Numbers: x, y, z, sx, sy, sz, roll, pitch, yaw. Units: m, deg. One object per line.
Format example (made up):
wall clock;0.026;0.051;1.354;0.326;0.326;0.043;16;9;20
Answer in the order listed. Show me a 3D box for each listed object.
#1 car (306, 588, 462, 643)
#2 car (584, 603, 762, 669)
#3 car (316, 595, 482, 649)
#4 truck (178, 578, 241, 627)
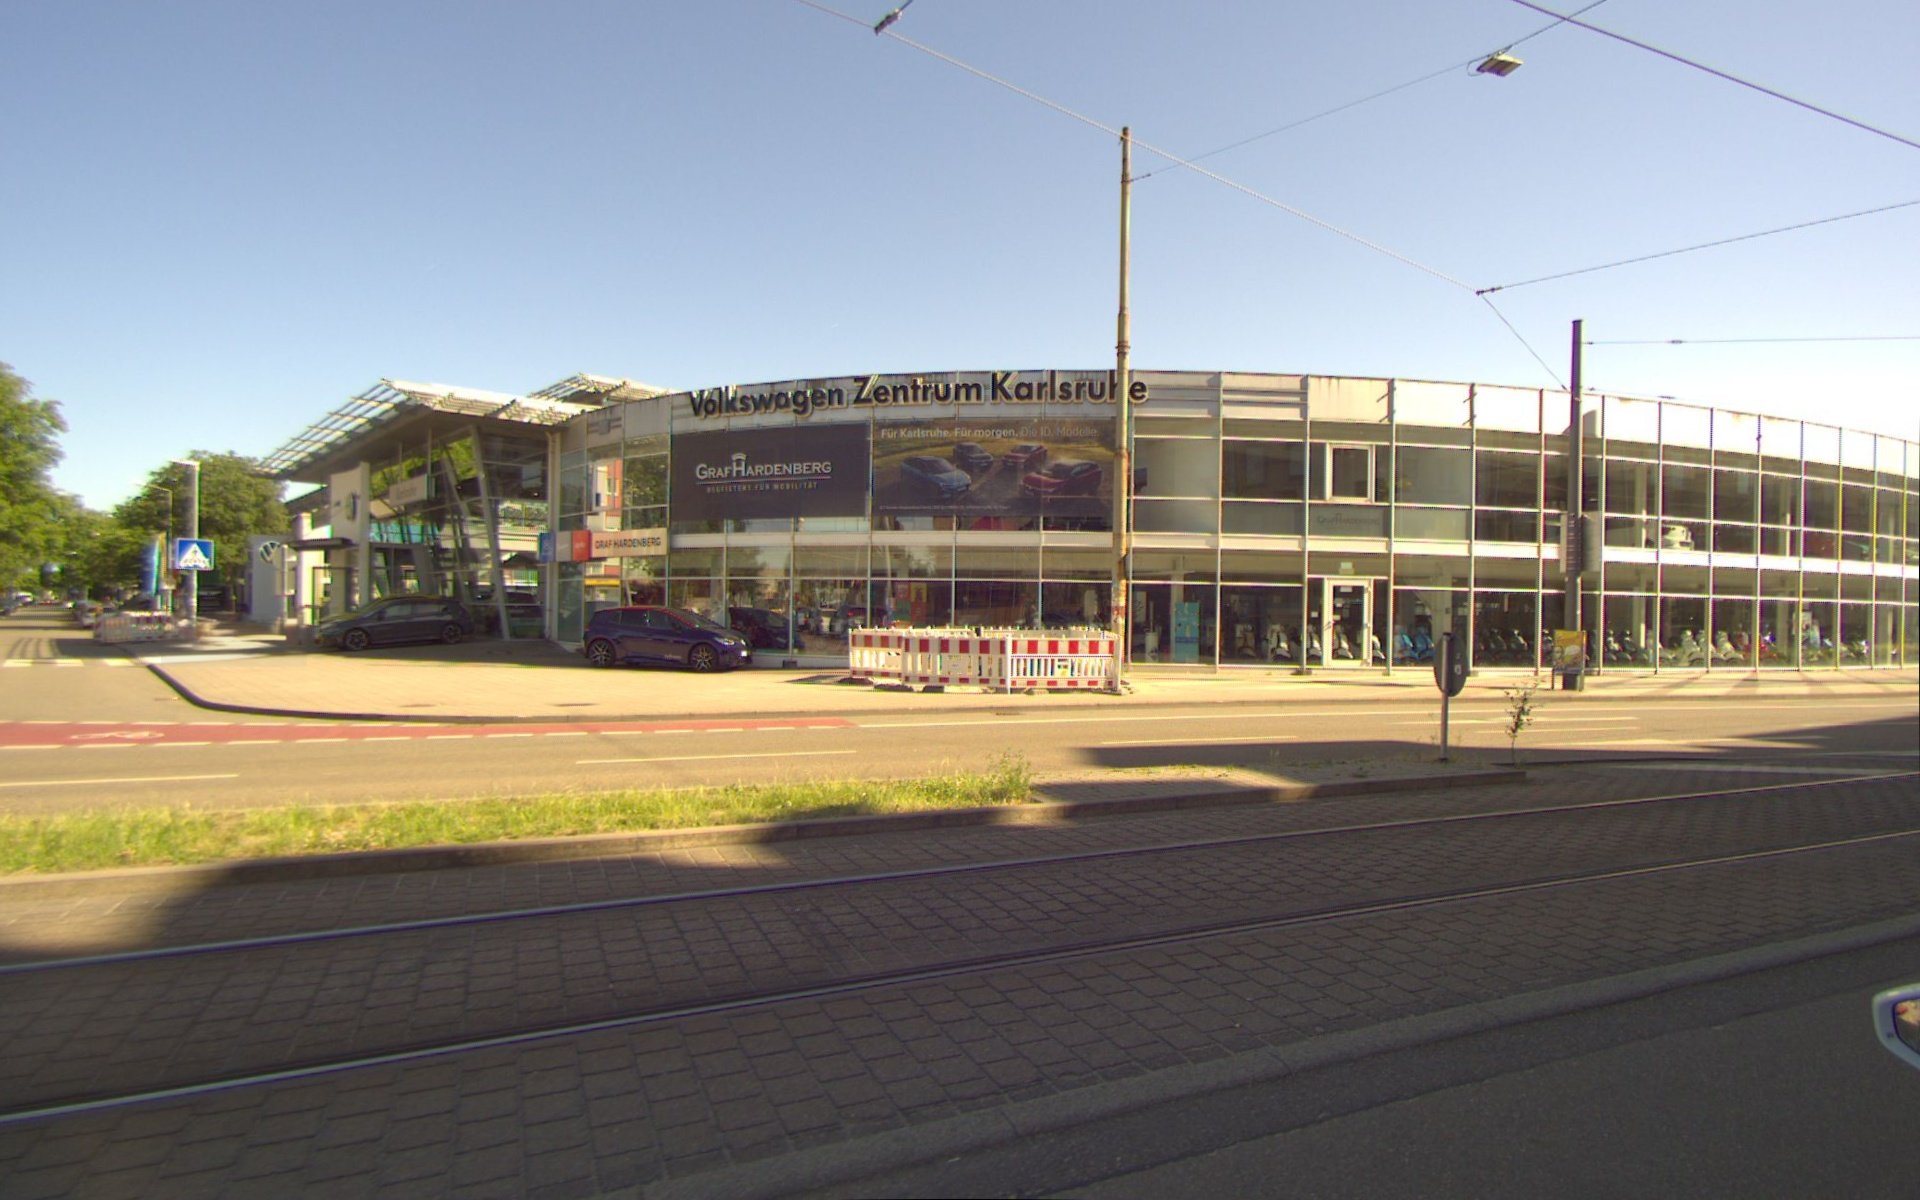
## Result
car;-18.957;0.467;33.151;4.169;1.585;1.738;-3;2;-41
car;-7.134;0.861;25.142;3.919;1.557;1.760;0;0;9
car;-17.206;0.624;30.900;4.169;1.419;1.738;-3;2;-41
truck;-37.409;0.114;50.046;1.987;2.251;4.160;1;1;-44
